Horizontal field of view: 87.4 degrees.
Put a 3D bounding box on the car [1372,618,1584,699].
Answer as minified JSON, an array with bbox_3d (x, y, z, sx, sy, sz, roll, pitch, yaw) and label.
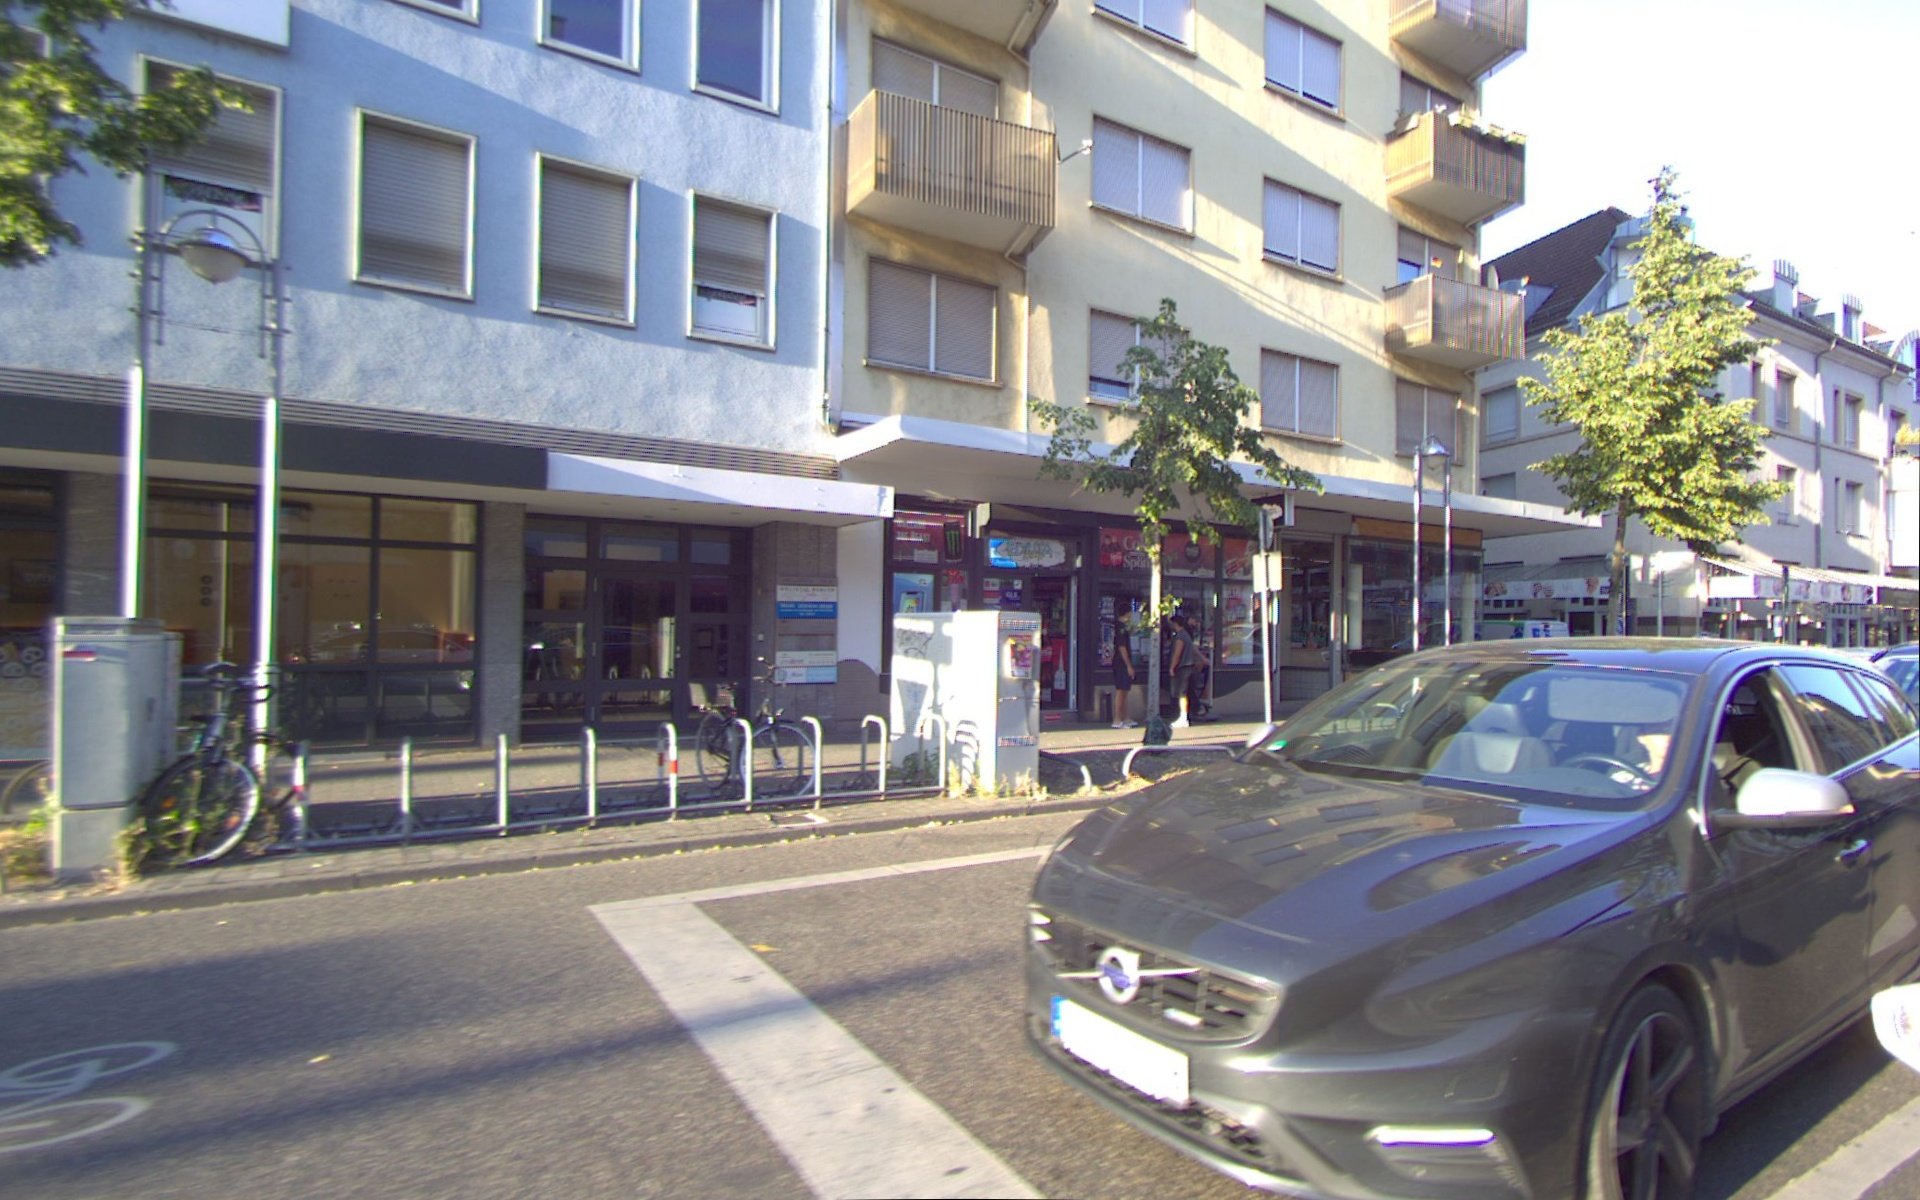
[{"bbox_3d":[13.517,1.470,26.589,1.972,1.852,4.854,2,-1,-23],"label":"car"}]

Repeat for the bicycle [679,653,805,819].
[{"bbox_3d":[-2.006,1.142,9.037,0.485,1.235,1.999,2,-1,-30],"label":"bicycle"}]

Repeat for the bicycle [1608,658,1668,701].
[{"bbox_3d":[16.625,1.942,24.605,1.995,1.005,0.487,3,-1,-33],"label":"bicycle"}]

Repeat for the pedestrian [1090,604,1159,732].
[{"bbox_3d":[2.476,0.998,15.136,0.732,1.872,0.766,0,-1,-21],"label":"pedestrian"}]

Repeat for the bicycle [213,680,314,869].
[{"bbox_3d":[-4.884,1.137,7.073,0.486,1.005,1.996,2,-1,-34],"label":"bicycle"}]

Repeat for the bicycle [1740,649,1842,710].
[{"bbox_3d":[19.425,1.833,23.454,3.094,1.317,0.953,3,-1,-33],"label":"bicycle"}]

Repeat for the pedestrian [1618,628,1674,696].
[{"bbox_3d":[17.875,1.611,26.193,0.767,1.698,0.903,2,-1,-17],"label":"pedestrian"}]

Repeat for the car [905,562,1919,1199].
[{"bbox_3d":[2.188,0.771,3.864,4.461,1.568,1.947,1,-2,-34],"label":"car"}]

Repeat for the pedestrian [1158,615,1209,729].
[{"bbox_3d":[3.454,1.097,15.553,0.728,1.698,0.770,1,-1,11],"label":"pedestrian"}]

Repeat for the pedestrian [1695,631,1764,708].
[{"bbox_3d":[17.674,1.577,23.078,0.979,1.698,0.901,0,-1,-25],"label":"pedestrian"}]

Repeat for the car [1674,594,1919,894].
[{"bbox_3d":[7.167,0.898,6.980,4.562,1.666,1.937,3,-3,-31],"label":"car"}]

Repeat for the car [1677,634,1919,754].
[{"bbox_3d":[12.841,1.351,14.879,4.458,1.531,1.984,3,-5,-31],"label":"car"}]

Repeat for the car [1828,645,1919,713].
[{"bbox_3d":[22.192,1.835,23.593,3.841,1.421,1.652,3,-1,-32],"label":"car"}]

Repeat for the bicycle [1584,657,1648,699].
[{"bbox_3d":[16.399,1.941,25.110,1.992,1.005,0.487,3,-1,-30],"label":"bicycle"}]

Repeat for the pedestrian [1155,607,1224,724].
[{"bbox_3d":[3.741,1.052,16.412,0.803,1.843,0.737,1,-2,-29],"label":"pedestrian"}]
